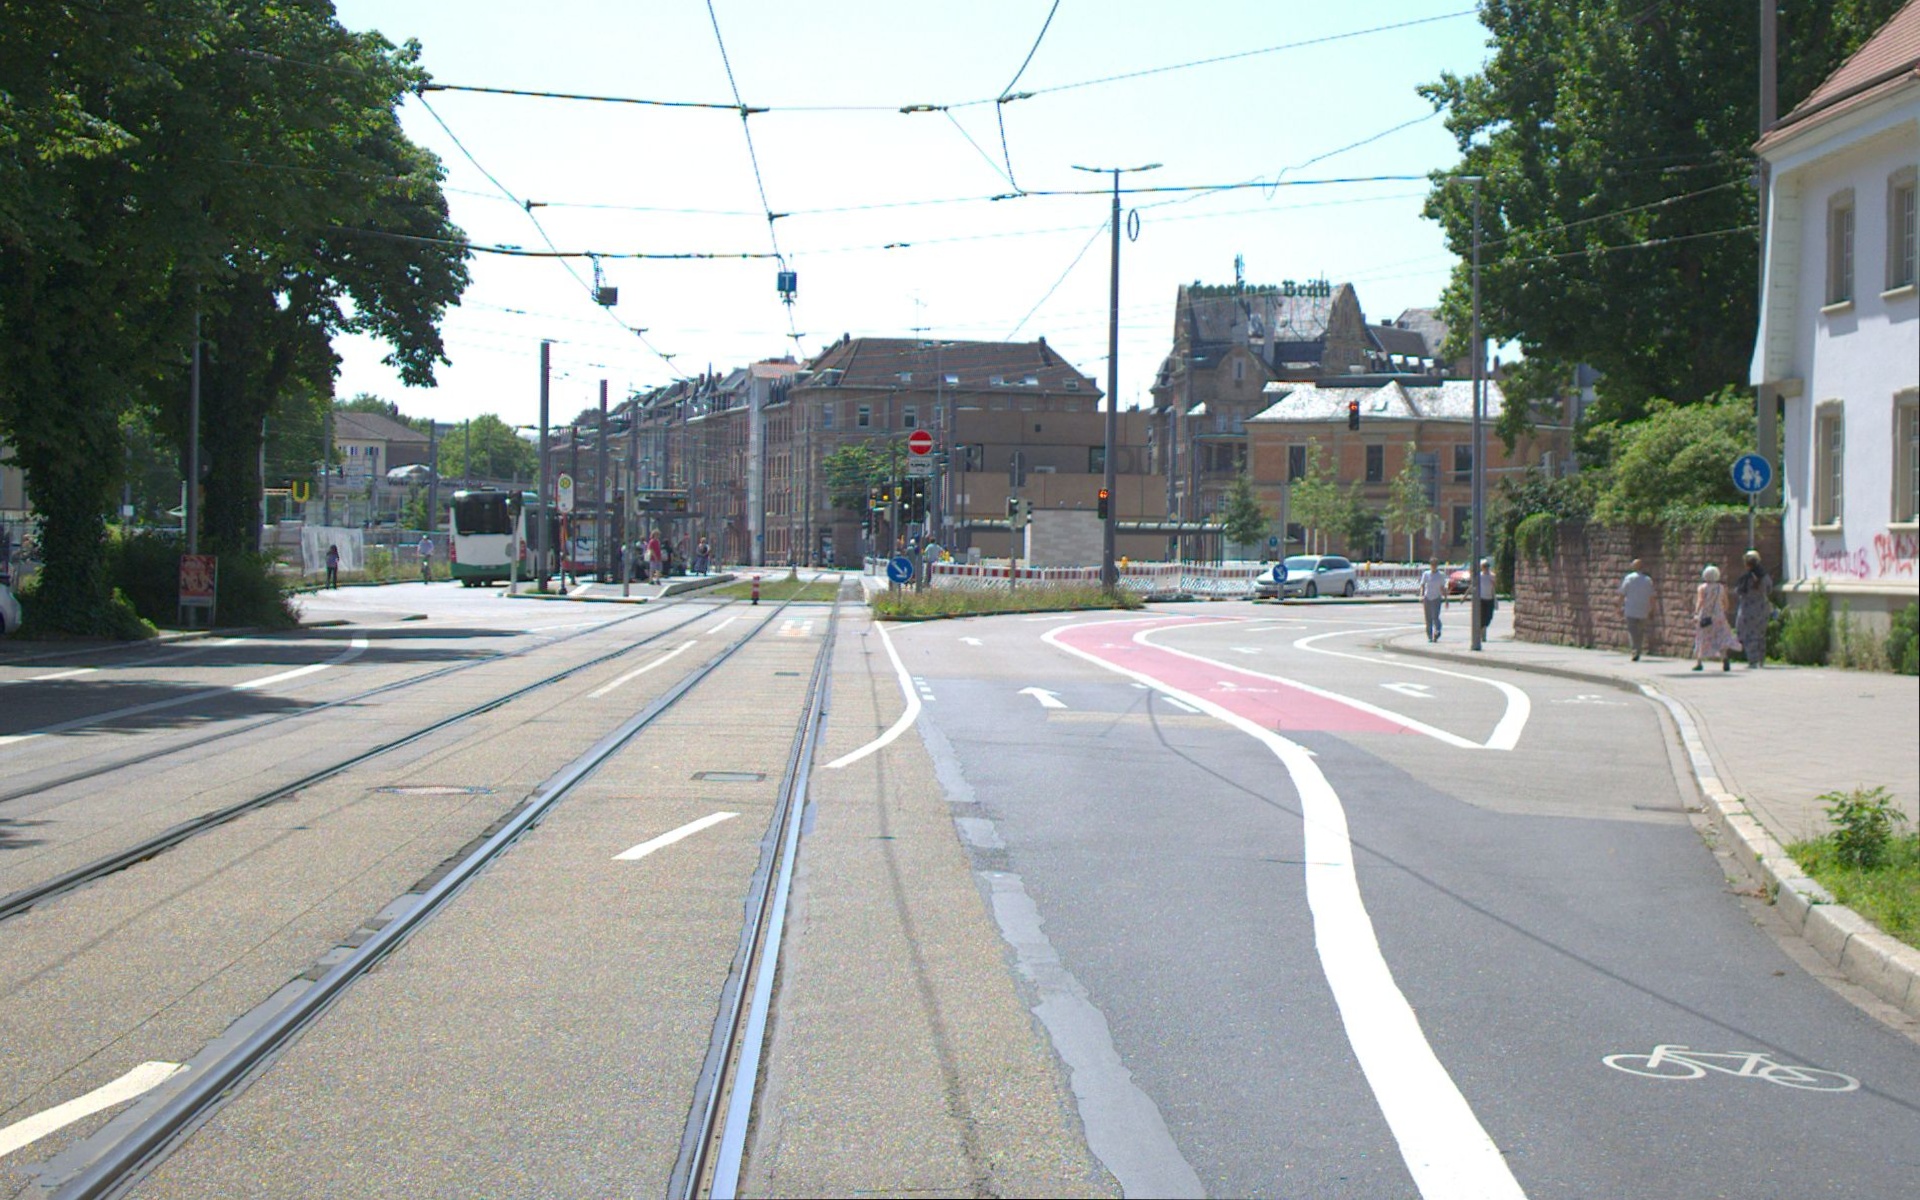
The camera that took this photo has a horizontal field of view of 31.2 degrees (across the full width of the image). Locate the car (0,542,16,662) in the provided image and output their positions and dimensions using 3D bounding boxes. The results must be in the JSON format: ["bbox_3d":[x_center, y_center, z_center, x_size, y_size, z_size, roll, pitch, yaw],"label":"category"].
[{"bbox_3d":[-13.976,-0.061,43.318,3.664,1.515,1.669,3,0,-30],"label":"car"}]

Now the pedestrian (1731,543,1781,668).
[{"bbox_3d":[11.565,0.075,49.984,0.627,1.767,0.718,-1,2,10],"label":"pedestrian"}]

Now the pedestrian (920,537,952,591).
[{"bbox_3d":[-0.850,-1.261,120.691,0.765,1.858,0.730,2,-1,-42],"label":"pedestrian"}]

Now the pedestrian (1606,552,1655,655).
[{"bbox_3d":[10.827,0.047,55.509,0.660,1.641,0.624,1,1,4],"label":"pedestrian"}]

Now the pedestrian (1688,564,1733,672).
[{"bbox_3d":[10.810,0.253,49.517,0.515,1.527,0.597,1,1,4],"label":"pedestrian"}]

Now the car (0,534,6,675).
[{"bbox_3d":[-11.427,0.006,33.351,3.920,1.369,1.670,1,1,-27],"label":"car"}]

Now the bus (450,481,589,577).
[{"bbox_3d":[-15.557,-2.524,122.779,3.010,3.147,17.499,1,1,-1],"label":"bus"}]

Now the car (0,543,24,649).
[{"bbox_3d":[-14.492,-0.115,45.810,3.537,1.401,1.702,2,0,-30],"label":"car"}]

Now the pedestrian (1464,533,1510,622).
[{"bbox_3d":[10.746,-0.464,70.085,0.814,1.802,0.700,1,1,3],"label":"pedestrian"}]

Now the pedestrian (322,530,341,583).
[{"bbox_3d":[-20.544,-1.423,112.445,0.566,1.700,0.397,1,1,-9],"label":"pedestrian"}]

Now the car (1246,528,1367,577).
[{"bbox_3d":[11.231,-1.526,111.280,1.997,1.433,4.696,2,0,32],"label":"car"}]

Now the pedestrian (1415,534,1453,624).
[{"bbox_3d":[9.700,-0.433,70.336,0.677,1.802,0.748,1,1,3],"label":"pedestrian"}]

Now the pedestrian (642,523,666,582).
[{"bbox_3d":[-9.842,-1.533,110.705,0.672,1.903,0.641,1,1,-11],"label":"pedestrian"}]
